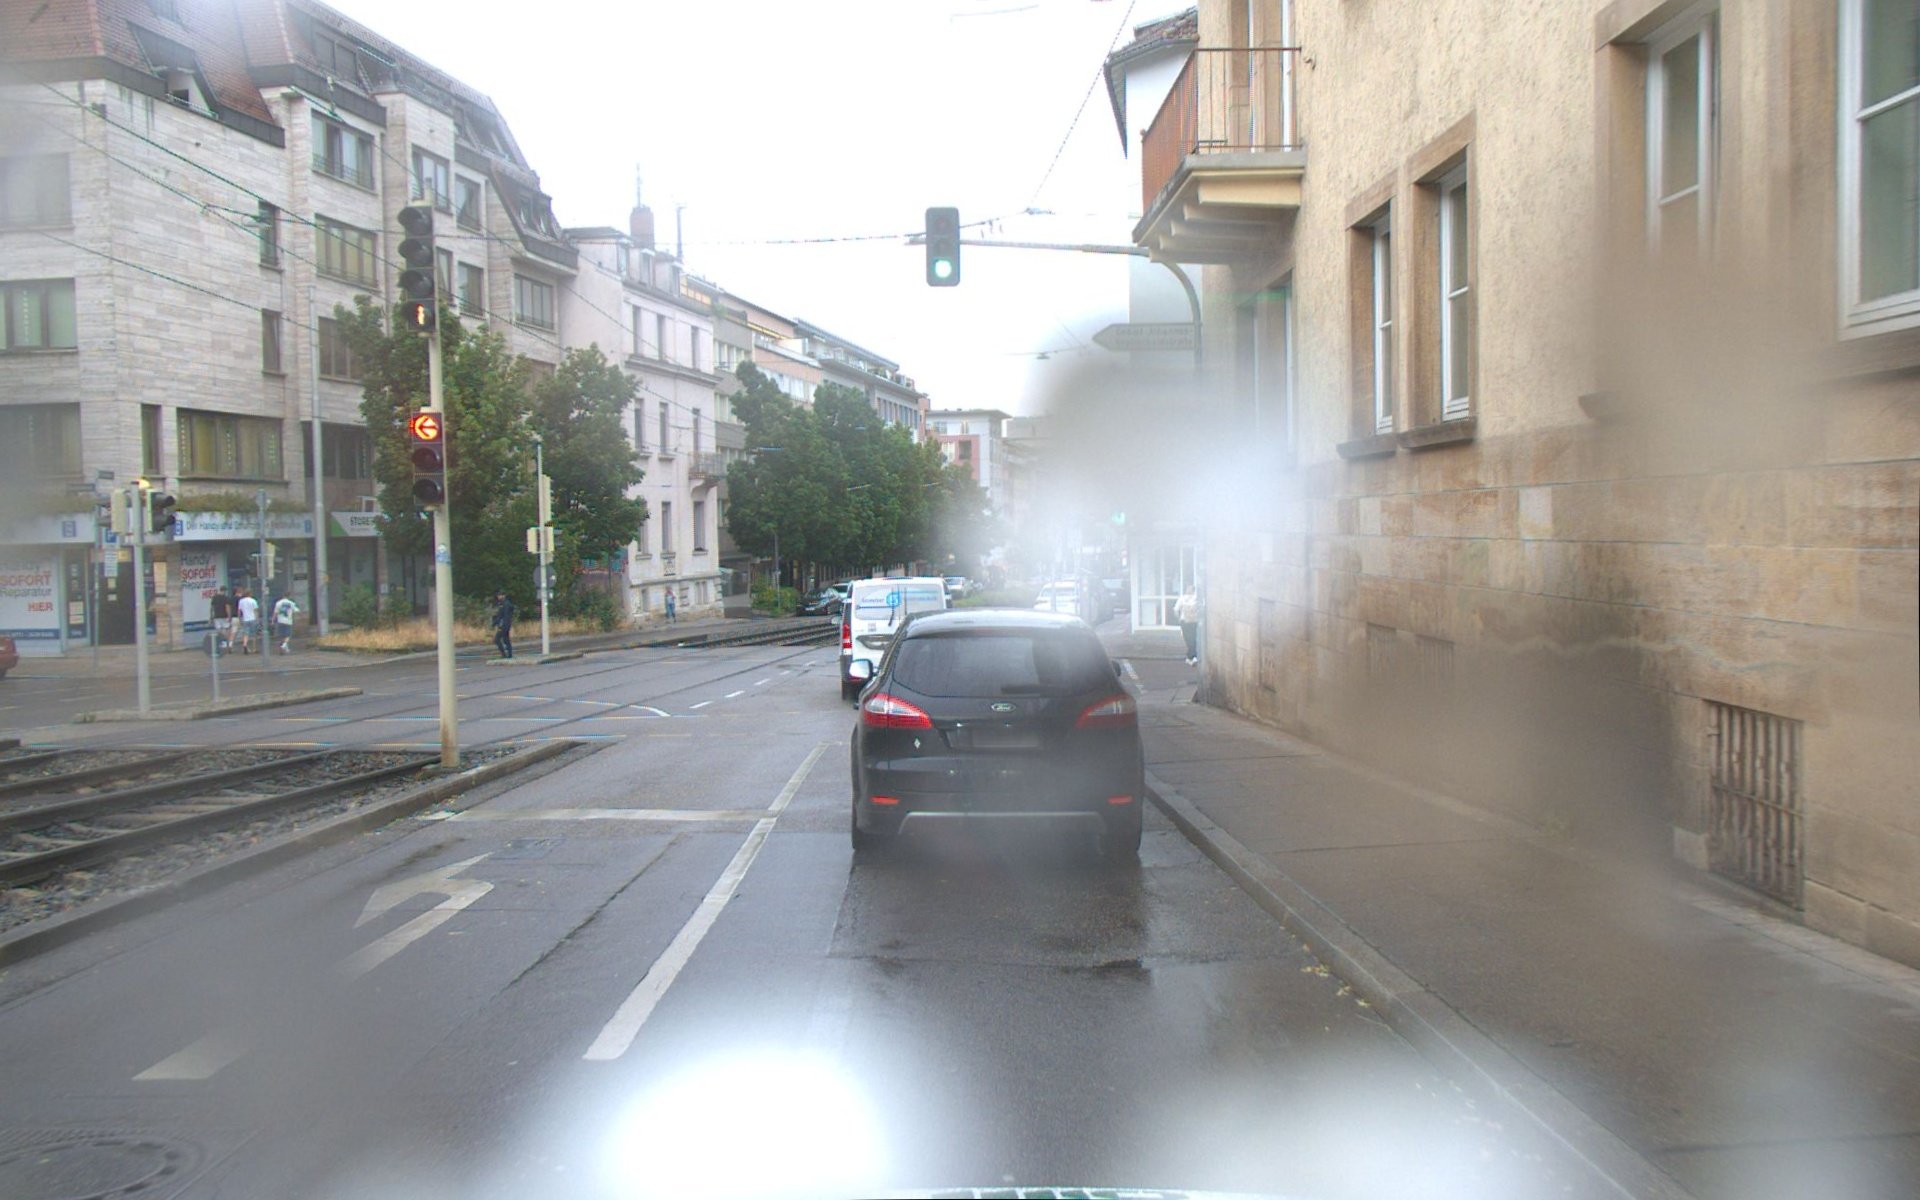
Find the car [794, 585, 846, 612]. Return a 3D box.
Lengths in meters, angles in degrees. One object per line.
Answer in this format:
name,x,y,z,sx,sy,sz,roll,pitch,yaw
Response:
car,-7.598,-0.062,90.098,1.657,1.402,4.724,-1,-1,10

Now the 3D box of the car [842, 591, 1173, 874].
car,0.234,0.749,11.083,1.805,1.533,3.999,1,-1,-1

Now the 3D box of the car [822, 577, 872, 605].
car,-6.565,-0.499,96.542,1.816,1.576,4.724,-1,-1,10

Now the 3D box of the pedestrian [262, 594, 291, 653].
pedestrian,-19.148,0.656,46.357,0.493,1.626,0.586,1,-1,7

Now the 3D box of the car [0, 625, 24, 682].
car,-24.259,1.276,38.993,3.614,1.341,1.595,-1,-1,9

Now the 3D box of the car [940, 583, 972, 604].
car,-0.334,-0.541,135.617,1.816,1.665,4.939,-1,-1,10

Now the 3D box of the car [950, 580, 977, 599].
car,0.330,-0.890,142.371,1.658,1.601,4.049,-1,-1,10

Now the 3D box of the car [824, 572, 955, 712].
car,-1.124,0.654,27.250,1.948,2.096,4.643,1,-1,-2

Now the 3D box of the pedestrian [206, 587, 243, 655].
pedestrian,-20.574,0.573,46.259,0.634,1.875,0.684,1,-1,8

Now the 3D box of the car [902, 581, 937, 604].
car,-2.910,-0.515,119.385,1.816,1.553,4.049,-1,-1,10

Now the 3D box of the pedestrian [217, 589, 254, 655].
pedestrian,-19.836,0.598,45.282,0.634,1.780,0.684,1,-1,8

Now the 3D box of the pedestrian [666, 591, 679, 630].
pedestrian,-12.581,0.446,72.308,0.458,1.681,0.582,1,-1,-3

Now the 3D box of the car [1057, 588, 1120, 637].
car,4.678,0.451,59.622,1.806,1.661,4.590,-1,0,10

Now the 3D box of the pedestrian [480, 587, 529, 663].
pedestrian,-11.416,0.630,41.502,0.911,1.862,0.959,1,-1,1

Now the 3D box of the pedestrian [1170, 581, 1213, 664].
pedestrian,4.603,0.444,32.866,0.674,1.599,0.763,-2,-1,-2

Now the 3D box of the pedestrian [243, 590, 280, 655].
pedestrian,-19.107,0.623,45.262,0.634,1.754,0.684,1,-1,8

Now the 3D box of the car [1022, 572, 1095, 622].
car,3.191,-0.080,52.679,1.763,1.481,4.590,-2,-1,10

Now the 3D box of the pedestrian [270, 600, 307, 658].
pedestrian,-18.369,0.787,45.265,0.634,1.576,0.684,1,-1,8

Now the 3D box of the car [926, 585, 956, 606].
car,-1.429,-0.314,126.423,1.632,1.585,4.049,-1,-1,10
